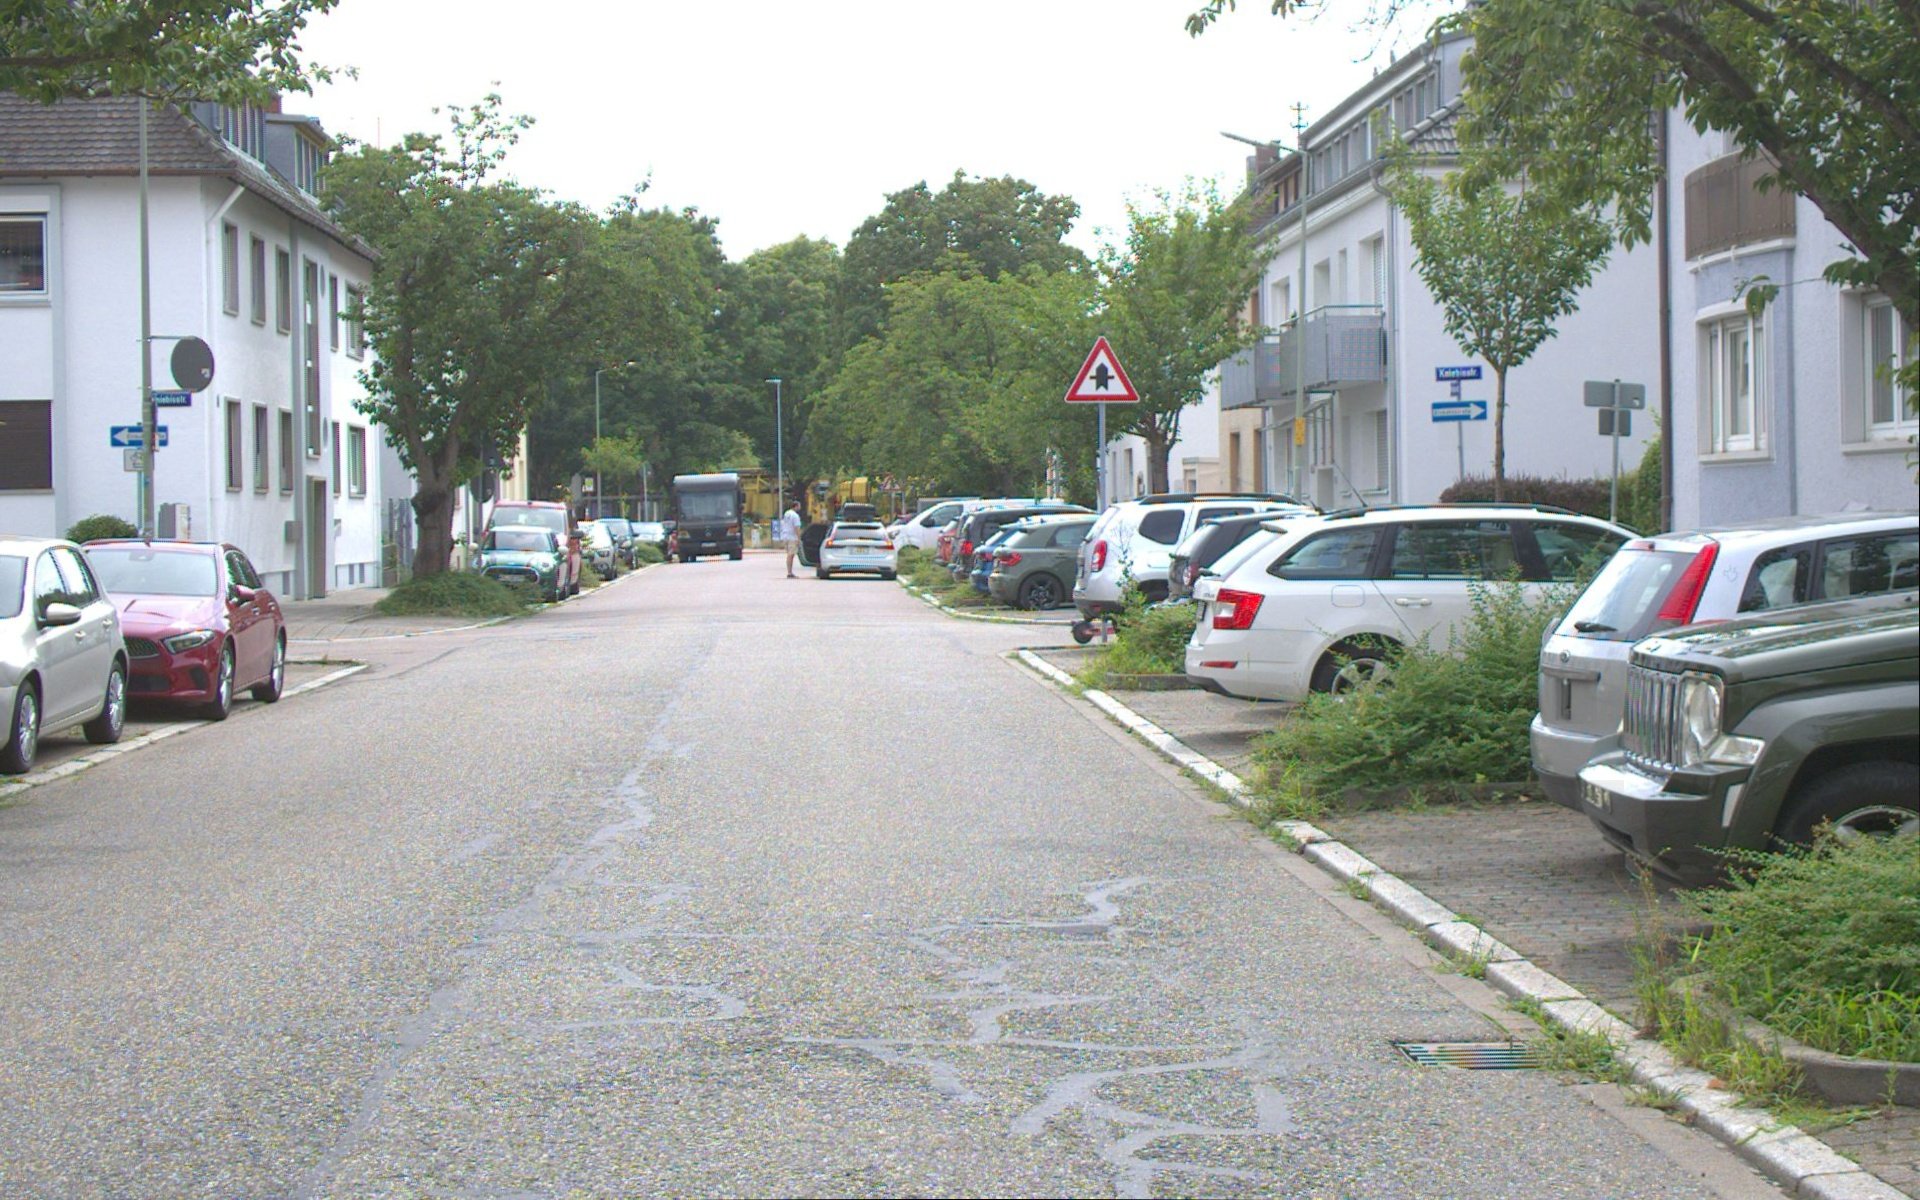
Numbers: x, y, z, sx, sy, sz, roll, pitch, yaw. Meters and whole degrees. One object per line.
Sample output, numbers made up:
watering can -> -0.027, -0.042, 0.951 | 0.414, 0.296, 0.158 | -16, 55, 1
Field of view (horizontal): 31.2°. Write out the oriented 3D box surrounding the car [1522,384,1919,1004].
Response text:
car -> 4.308, 0.180, 11.382 | 4.525, 1.851, 1.793 | -3, 1, 0

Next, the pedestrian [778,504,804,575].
pedestrian -> -4.085, -1.466, 83.129 | 0.522, 1.698, 0.444 | -3, 1, 1

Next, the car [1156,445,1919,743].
car -> 3.703, -0.060, 22.618 | 4.614, 1.658, 1.893 | -3, 1, -1

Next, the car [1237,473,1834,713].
car -> 4.149, -0.070, 25.187 | 3.986, 1.503, 1.713 | -3, 1, -2

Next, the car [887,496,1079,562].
car -> 0.598, -1.919, 92.487 | 4.974, 1.513, 1.769 | -3, 1, -4

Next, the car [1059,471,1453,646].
car -> 3.093, -0.450, 36.540 | 3.923, 1.627, 1.868 | -3, 1, -1

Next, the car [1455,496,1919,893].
car -> 4.084, 0.295, 14.279 | 3.624, 1.449, 1.773 | -3, 1, -6

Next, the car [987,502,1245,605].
car -> 2.334, -0.717, 52.204 | 3.747, 1.361, 1.773 | -3, 1, -1

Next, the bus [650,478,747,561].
bus -> -9.354, -2.902, 123.727 | 3.004, 2.751, 8.925 | -3, 1, -2

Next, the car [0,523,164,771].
car -> -6.633, 0.211, 22.702 | 1.771, 1.387, 4.275 | 5, 1, -2

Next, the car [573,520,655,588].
car -> -7.927, -1.066, 79.014 | 1.651, 1.456, 3.553 | -3, 1, -3

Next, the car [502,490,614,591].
car -> -8.380, -1.263, 72.009 | 1.993, 2.007, 4.521 | -1, 1, -3

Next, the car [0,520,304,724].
car -> -6.769, 0.124, 28.598 | 1.877, 1.481, 4.513 | -3, 1, -2

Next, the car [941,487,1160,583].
car -> 1.690, -1.234, 65.052 | 3.987, 1.612, 1.867 | -3, 1, -1

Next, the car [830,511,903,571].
car -> -2.282, -1.447, 84.050 | 1.687, 1.349, 3.827 | -3, 1, -1

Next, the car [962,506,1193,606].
car -> 1.856, -0.712, 54.862 | 3.517, 1.407, 1.559 | -3, 1, -2

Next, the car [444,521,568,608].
car -> -8.723, -0.709, 66.337 | 1.763, 1.548, 3.731 | -3, 1, 1

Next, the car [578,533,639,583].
car -> -9.665, -1.170, 94.770 | 1.538, 1.297, 3.722 | -3, 1, -5

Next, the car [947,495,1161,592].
car -> 1.688, -1.042, 62.684 | 3.747, 1.559, 1.773 | -3, 1, -1

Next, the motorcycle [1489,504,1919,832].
motorcycle -> 3.961, 0.285, 16.230 | 2.700, 1.459, 1.032 | -1, 1, -6

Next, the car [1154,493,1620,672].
car -> 3.896, -0.181, 31.782 | 3.986, 1.417, 1.713 | -3, 1, -2

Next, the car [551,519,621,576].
car -> -9.739, -1.383, 89.697 | 1.651, 1.372, 3.722 | -3, 1, -5
